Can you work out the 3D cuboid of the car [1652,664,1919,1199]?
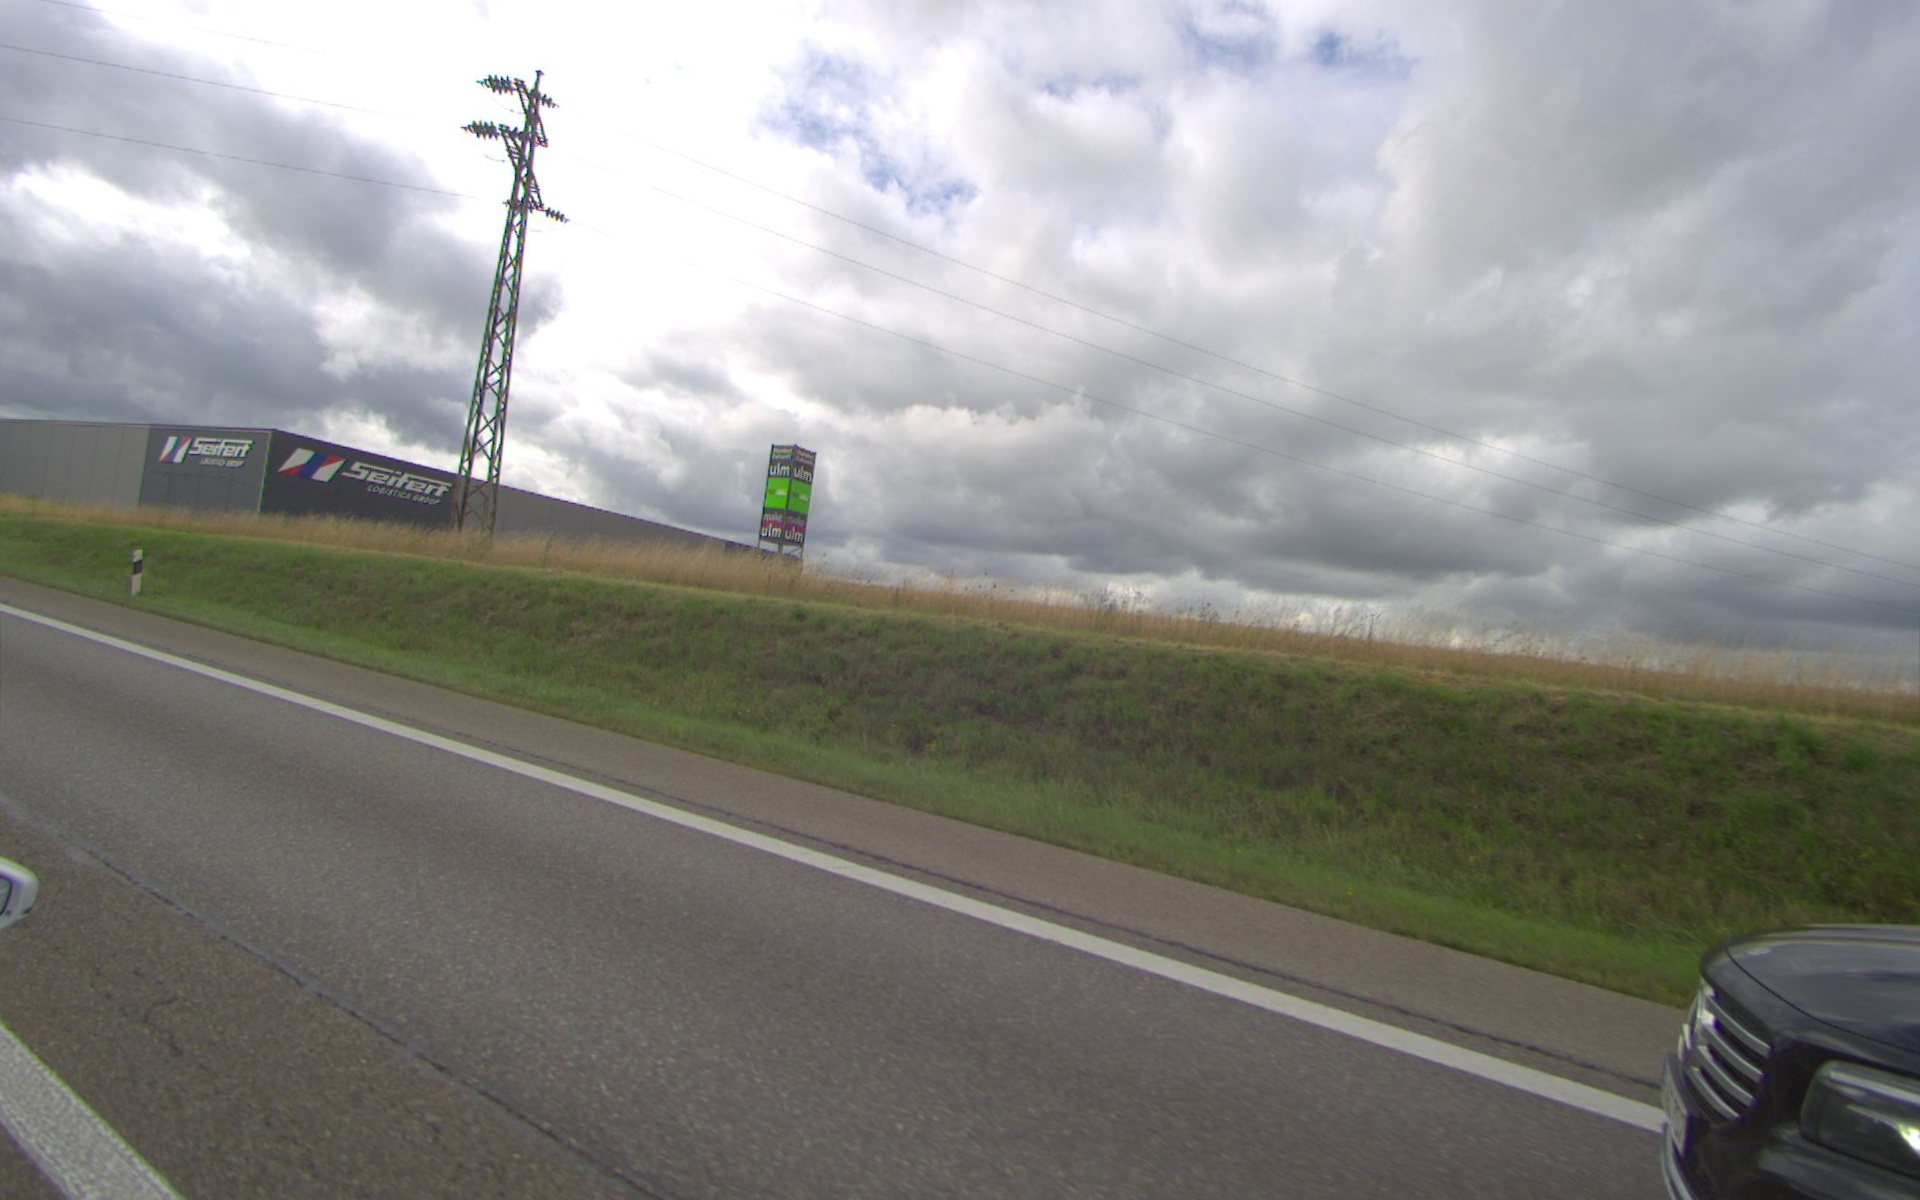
[{"bbox_3d":[3.806,1.212,1.531,4.288,1.628,1.836,6,-1,32],"label":"car"}]
